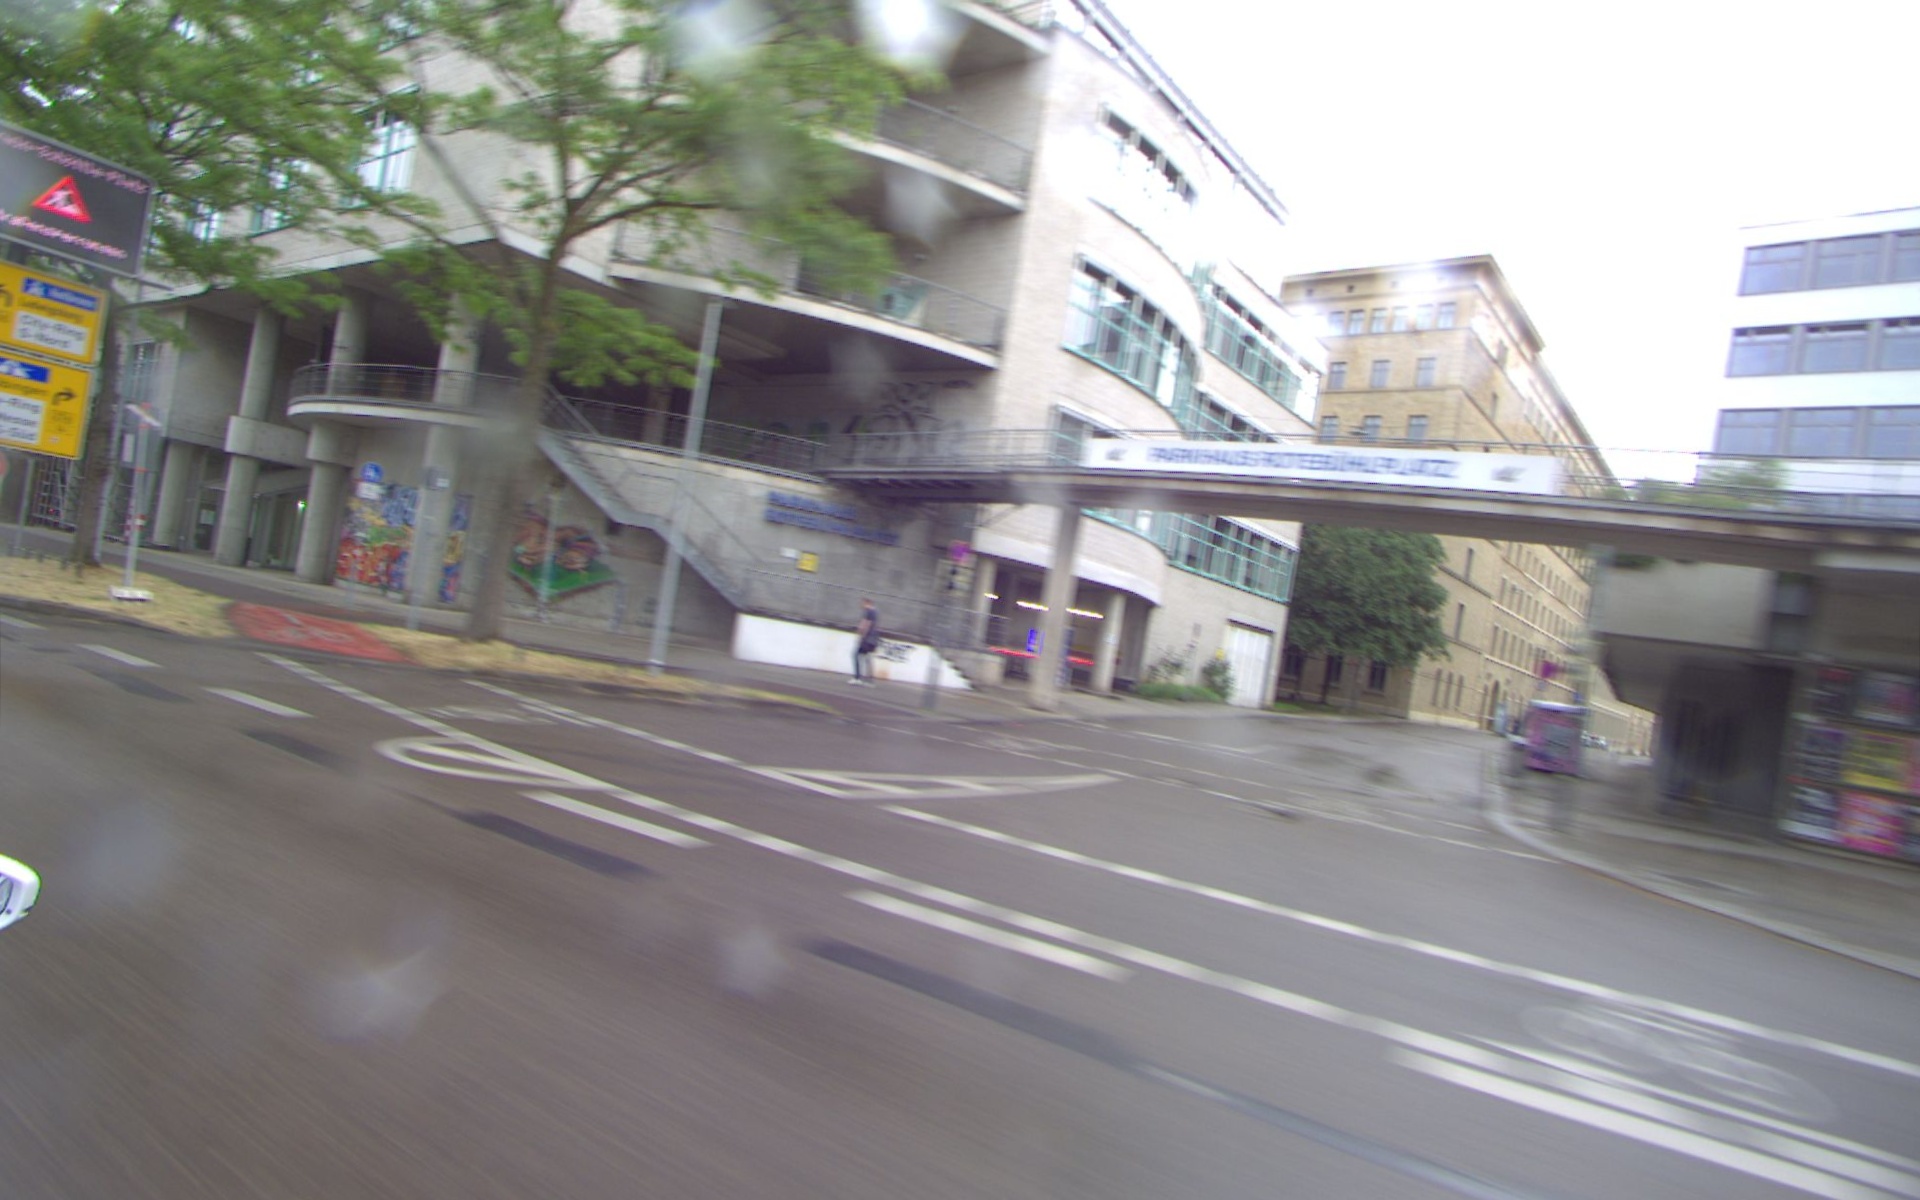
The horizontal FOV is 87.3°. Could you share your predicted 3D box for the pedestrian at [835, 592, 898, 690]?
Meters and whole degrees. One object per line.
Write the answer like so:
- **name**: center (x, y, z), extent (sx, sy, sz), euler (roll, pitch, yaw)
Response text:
- **pedestrian**: center (-1.982, 0.880, 21.394), extent (0.745, 1.932, 0.848), euler (7, -2, 31)
